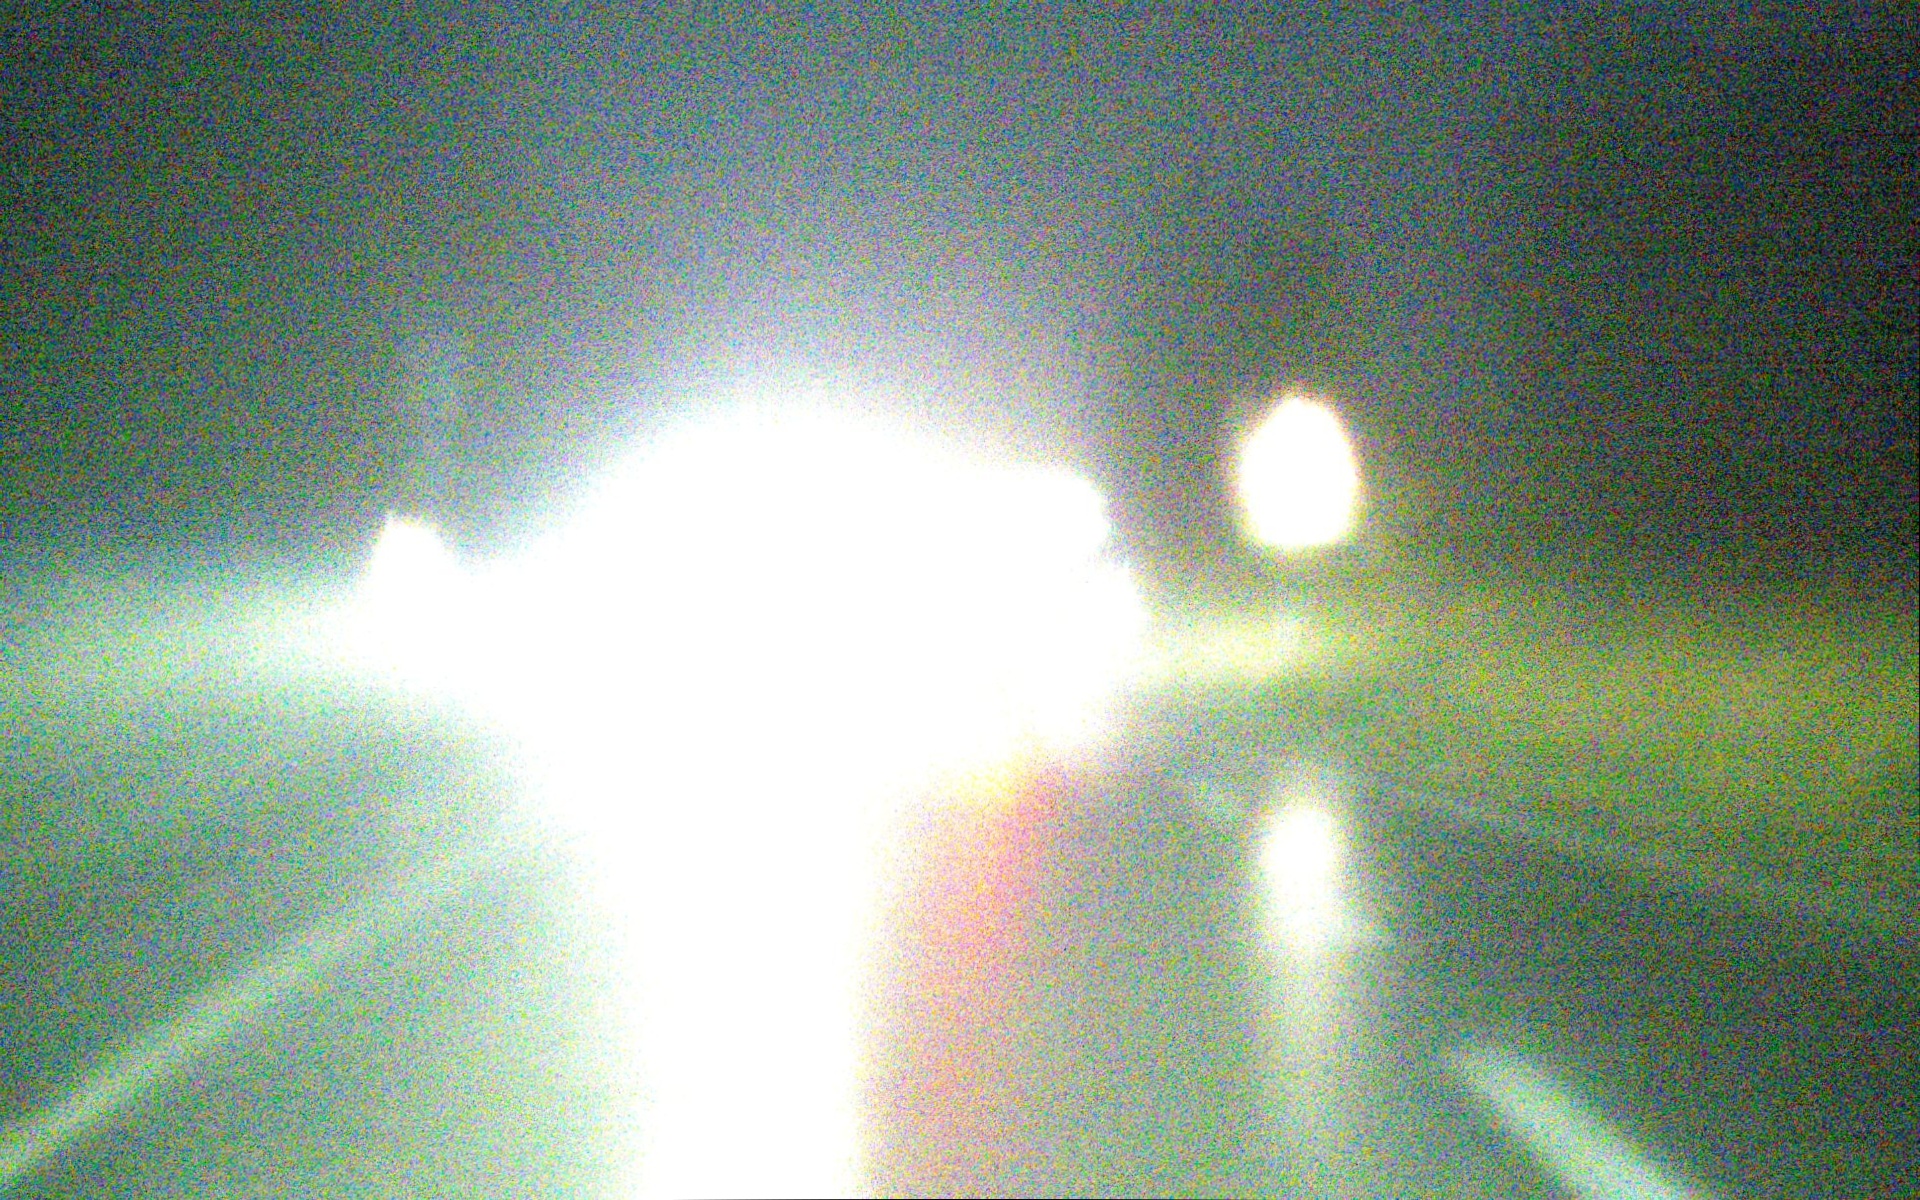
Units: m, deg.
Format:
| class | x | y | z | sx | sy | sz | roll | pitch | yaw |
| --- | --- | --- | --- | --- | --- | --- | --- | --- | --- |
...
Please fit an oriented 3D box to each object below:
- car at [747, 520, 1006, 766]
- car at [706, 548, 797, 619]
| class | x | y | z | sx | sy | sz | roll | pitch | yaw |
| --- | --- | --- | --- | --- | --- | --- | --- | --- | --- |
| car | -0.813 | 0.320 | 30.465 | 2.093 | 2.007 | 4.001 | 1 | 1 | -4 |
| car | -4.479 | -0.372 | 73.556 | 1.746 | 1.421 | 3.687 | -1 | 1 | -6 |
